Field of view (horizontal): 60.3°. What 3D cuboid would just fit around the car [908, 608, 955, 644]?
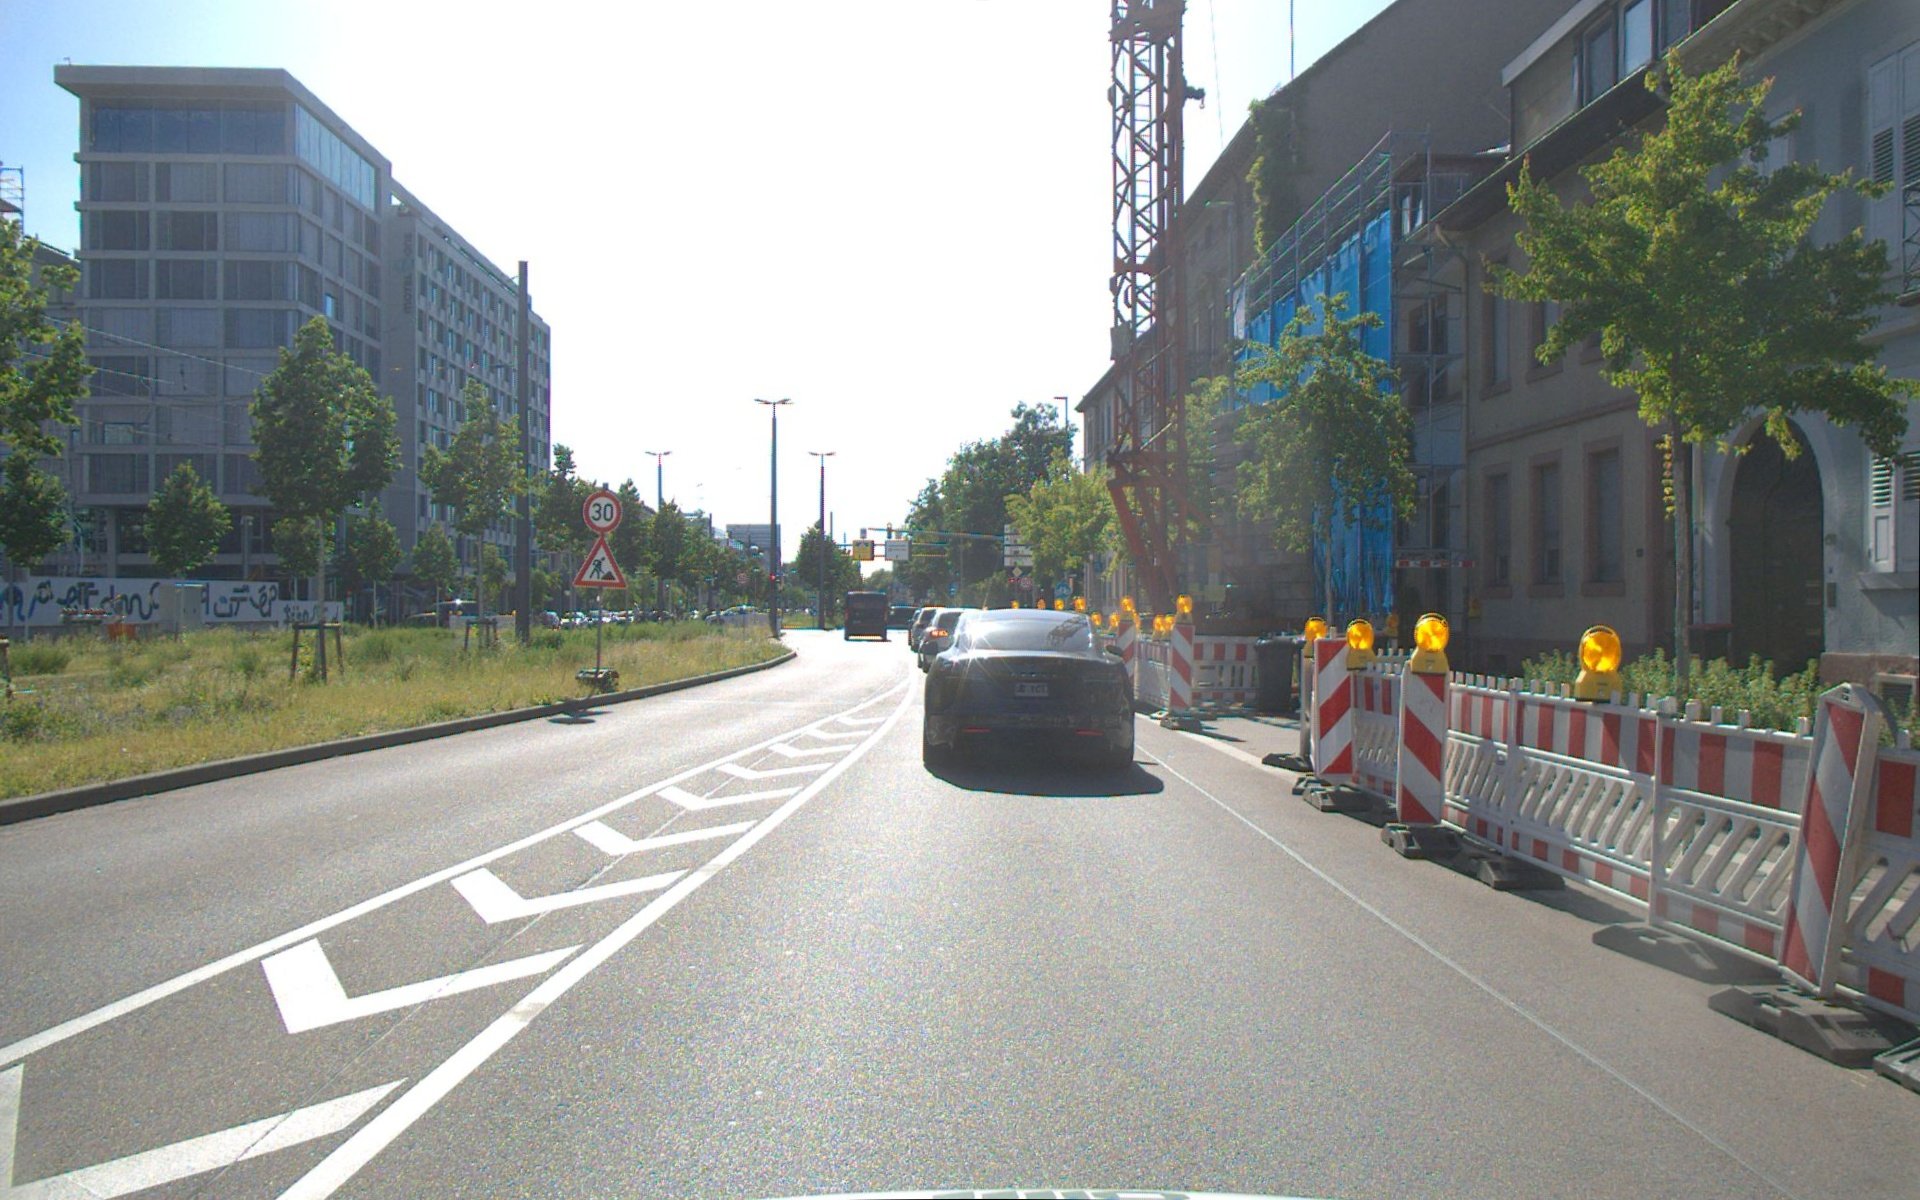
[{"bbox_3d":[-1.197,1.070,68.529,1.756,1.453,3.846,1,-1,-4],"label":"car"}]

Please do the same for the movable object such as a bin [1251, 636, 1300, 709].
[{"bbox_3d":[4.795,1.093,25.135,0.576,1.076,0.730,1,0,-2],"label":"movable object such as a bin"}]

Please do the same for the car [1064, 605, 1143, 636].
[{"bbox_3d":[8.771,1.258,100.895,4.419,1.824,2.000,0,0,21],"label":"car"}]

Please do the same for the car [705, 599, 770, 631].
[{"bbox_3d":[-13.836,0.933,102.730,3.902,1.952,1.910,0,0,-12],"label":"car"}]

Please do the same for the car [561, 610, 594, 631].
[{"bbox_3d":[-30.324,1.605,131.259,1.754,1.680,3.998,0,0,-2],"label":"car"}]

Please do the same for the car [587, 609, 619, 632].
[{"bbox_3d":[-27.865,1.588,129.076,1.754,1.680,3.998,0,0,-2],"label":"car"}]

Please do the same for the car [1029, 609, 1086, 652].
[{"bbox_3d":[3.691,1.139,63.420,1.615,1.501,4.698,-3,0,-3],"label":"car"}]

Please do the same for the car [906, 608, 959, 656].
[{"bbox_3d":[-0.964,1.062,56.059,1.714,1.554,4.003,1,0,-2],"label":"car"}]

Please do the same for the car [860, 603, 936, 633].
[{"bbox_3d":[-3.921,1.122,104.196,4.415,1.824,2.002,0,0,13],"label":"car"}]

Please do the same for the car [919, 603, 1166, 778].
[{"bbox_3d":[0.658,0.784,16.473,2.010,1.469,4.522,1,0,-3],"label":"car"}]

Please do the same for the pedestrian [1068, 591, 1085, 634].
[{"bbox_3d":[5.393,0.586,76.590,0.645,1.946,0.587,-3,0,-3],"label":"pedestrian"}]

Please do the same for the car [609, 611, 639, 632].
[{"bbox_3d":[-27.861,1.784,137.173,1.754,1.680,3.998,0,0,-2],"label":"car"}]

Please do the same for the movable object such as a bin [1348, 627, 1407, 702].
[{"bbox_3d":[6.380,0.979,25.297,0.576,1.076,0.782,-4,0,-7],"label":"movable object such as a bin"}]

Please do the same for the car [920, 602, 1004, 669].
[{"bbox_3d":[-0.006,0.784,38.517,1.713,1.452,4.835,1,0,-3],"label":"car"}]

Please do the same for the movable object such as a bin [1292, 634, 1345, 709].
[{"bbox_3d":[5.483,1.082,25.321,0.583,1.076,0.730,-4,0,-2],"label":"movable object such as a bin"}]

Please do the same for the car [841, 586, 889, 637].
[{"bbox_3d":[-4.498,0.515,78.170,2.174,2.307,4.481,1,0,-4],"label":"car"}]
